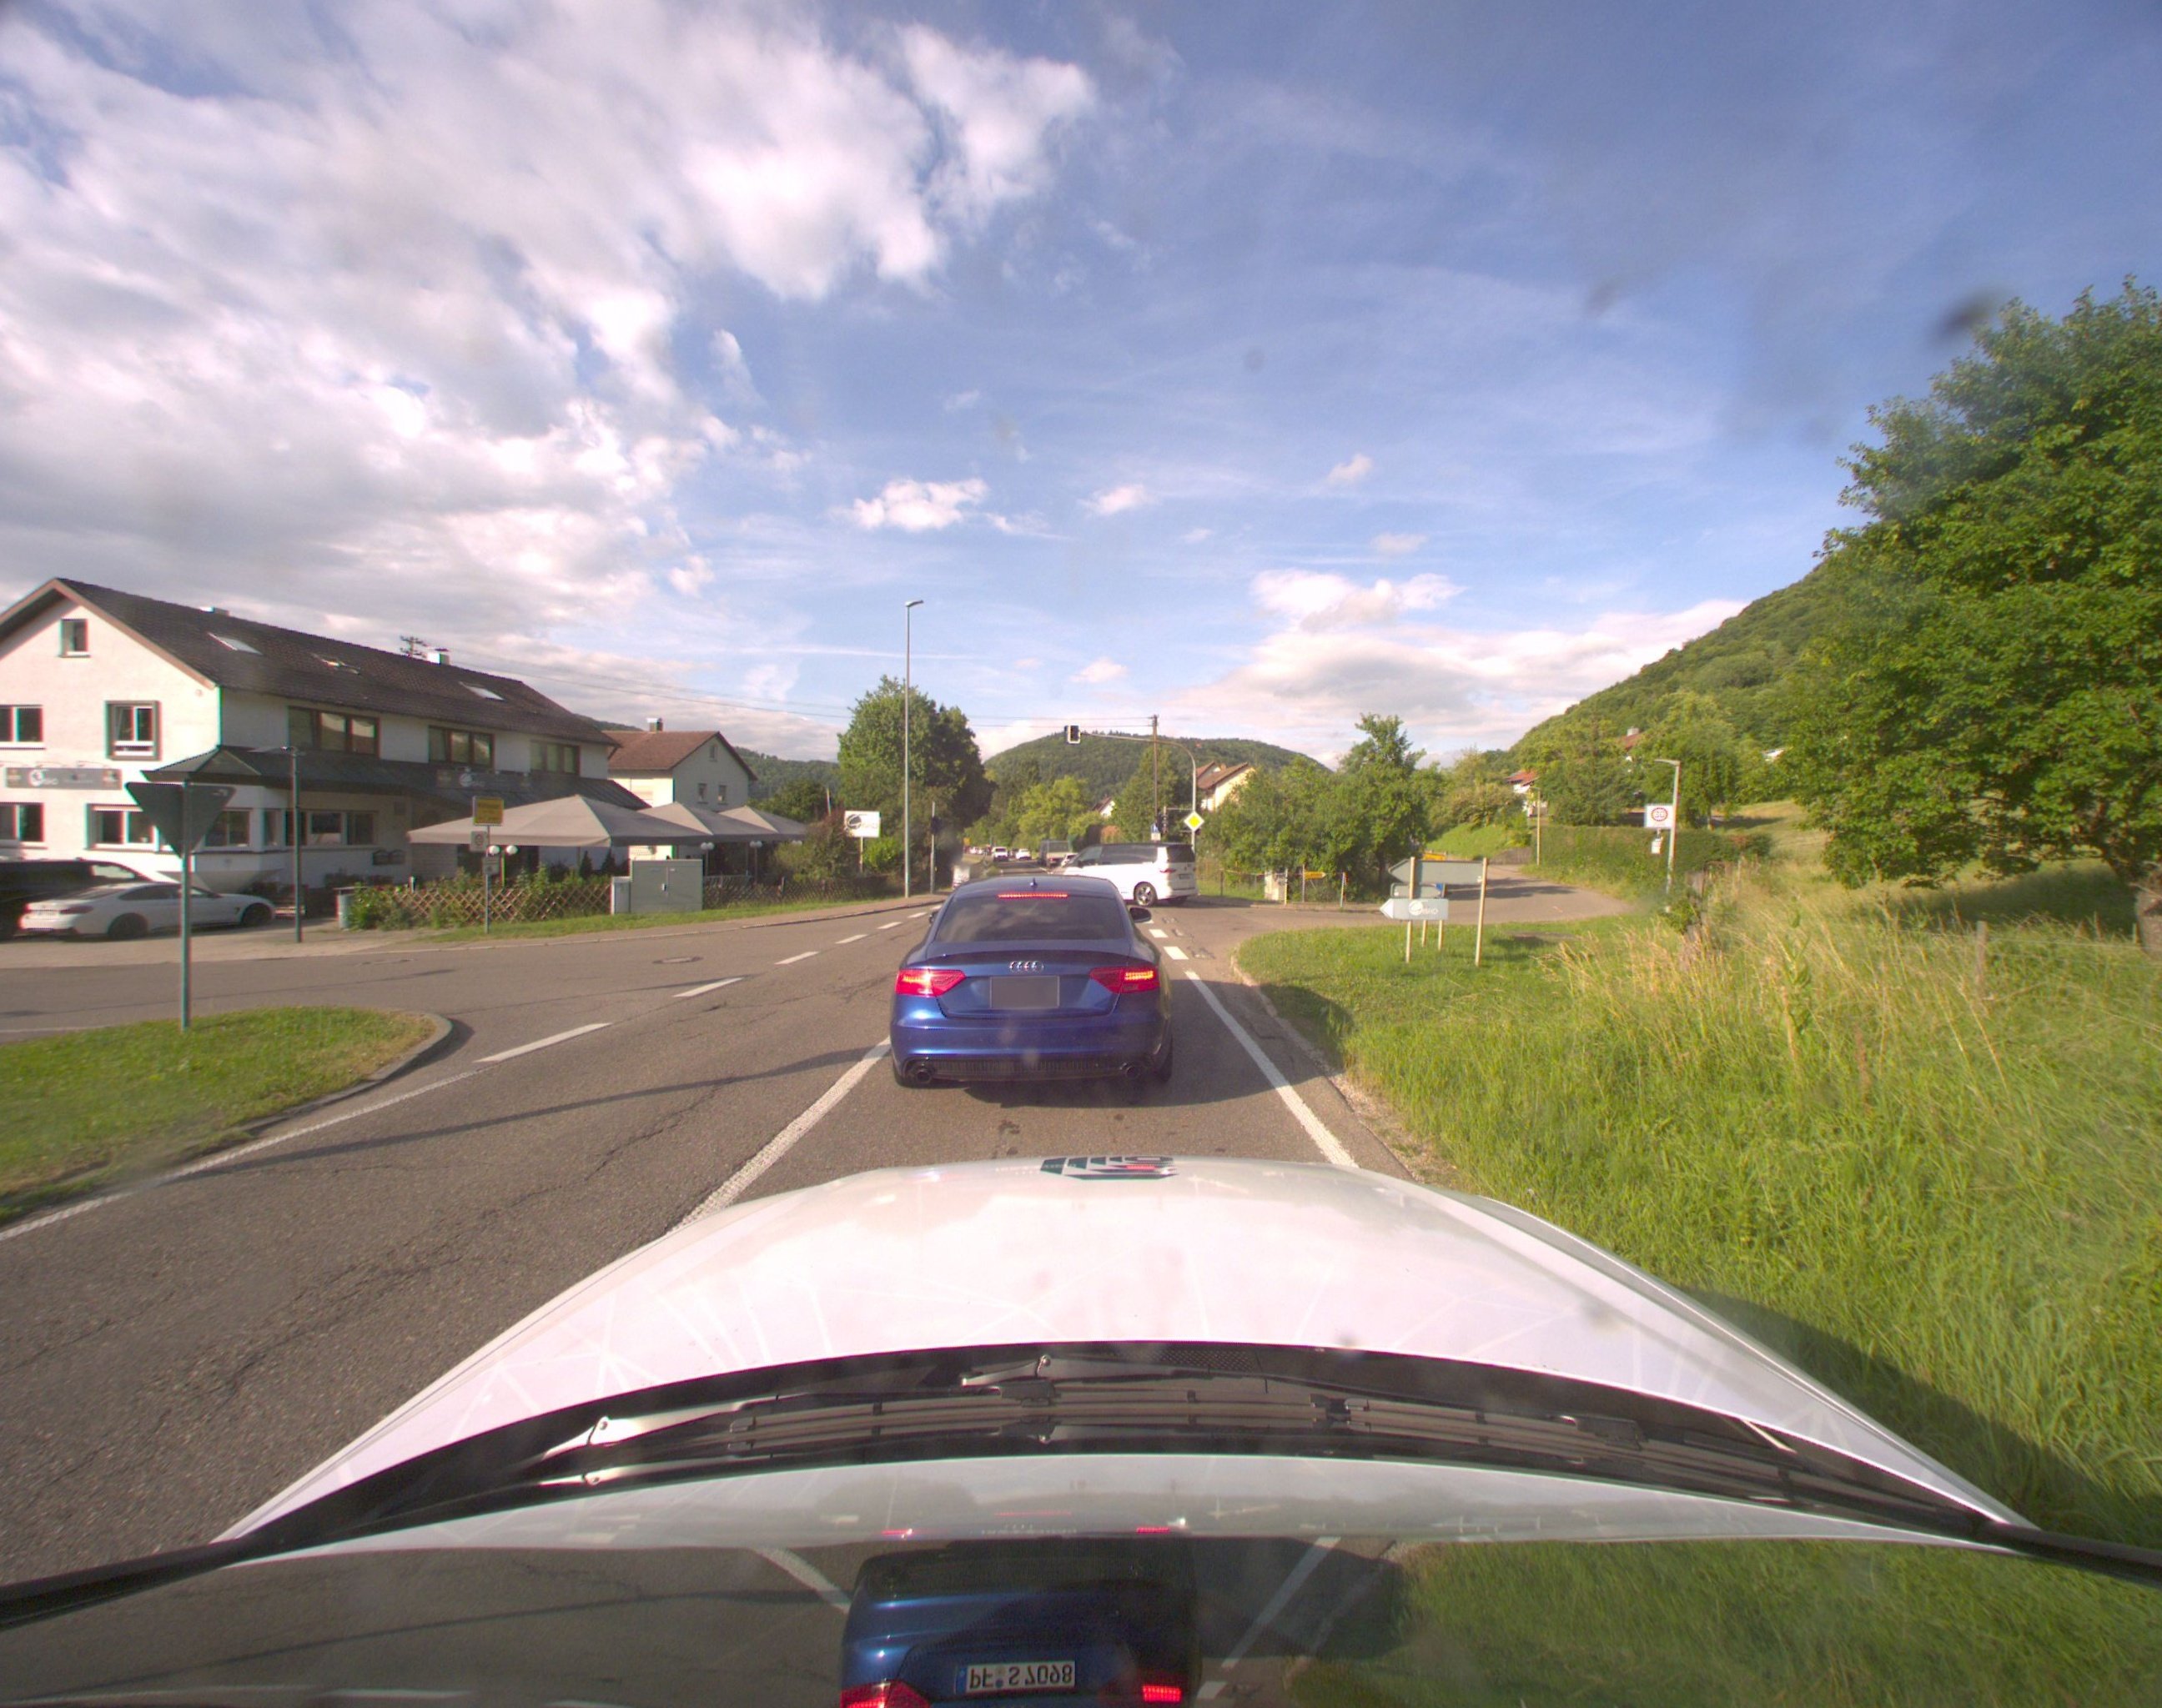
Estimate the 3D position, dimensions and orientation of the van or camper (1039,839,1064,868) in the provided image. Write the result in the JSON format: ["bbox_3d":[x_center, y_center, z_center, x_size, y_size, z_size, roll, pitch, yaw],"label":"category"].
[{"bbox_3d":[-3.213,-0.095,86.970,2.410,2.904,6.122,-1,0,-4],"label":"van or camper"}]

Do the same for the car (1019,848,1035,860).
[{"bbox_3d":[-7.399,0.037,111.333,1.819,1.552,3.987,-1,0,-10],"label":"car"}]

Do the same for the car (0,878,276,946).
[{"bbox_3d":[-24.649,1.447,21.503,1.984,1.389,4.582,-2,0,5],"label":"car"}]

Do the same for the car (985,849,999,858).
[{"bbox_3d":[-16.257,-0.126,148.603,2.043,1.684,3.982,-1,1,-13],"label":"car"}]

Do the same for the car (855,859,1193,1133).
[{"bbox_3d":[-0.303,0.795,6.606,1.824,1.409,4.226,-2,0,0],"label":"car"}]

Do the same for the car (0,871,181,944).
[{"bbox_3d":[-27.332,1.379,21.423,1.984,1.685,4.582,-2,0,5],"label":"car"}]

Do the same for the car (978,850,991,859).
[{"bbox_3d":[-18.660,0.055,157.179,1.944,1.684,3.982,-2,0,-13],"label":"car"}]

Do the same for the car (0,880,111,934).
[{"bbox_3d":[-30.400,1.522,22.293,1.984,1.389,4.582,-2,0,5],"label":"car"}]

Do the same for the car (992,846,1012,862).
[{"bbox_3d":[-10.230,-0.058,105.262,1.994,1.903,5.235,-2,1,-10],"label":"car"}]

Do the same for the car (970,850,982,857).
[{"bbox_3d":[-21.373,-0.043,166.023,1.944,1.424,3.982,-1,1,-13],"label":"car"}]

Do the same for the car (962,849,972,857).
[{"bbox_3d":[-24.935,-0.187,178.556,1.774,1.783,3.982,-1,0,-13],"label":"car"}]

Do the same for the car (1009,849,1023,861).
[{"bbox_3d":[-9.780,0.136,122.937,1.796,1.794,3.987,-1,0,-10],"label":"car"}]

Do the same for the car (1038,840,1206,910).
[{"bbox_3d":[1.212,0.571,25.098,4.808,1.876,2.013,2,1,36],"label":"car"}]

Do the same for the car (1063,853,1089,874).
[{"bbox_3d":[-0.317,0.660,58.062,1.765,1.415,4.174,1,0,0],"label":"car"}]

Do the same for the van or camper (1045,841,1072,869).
[{"bbox_3d":[-2.043,0.095,73.177,2.176,2.385,5.362,-1,0,-4],"label":"van or camper"}]
